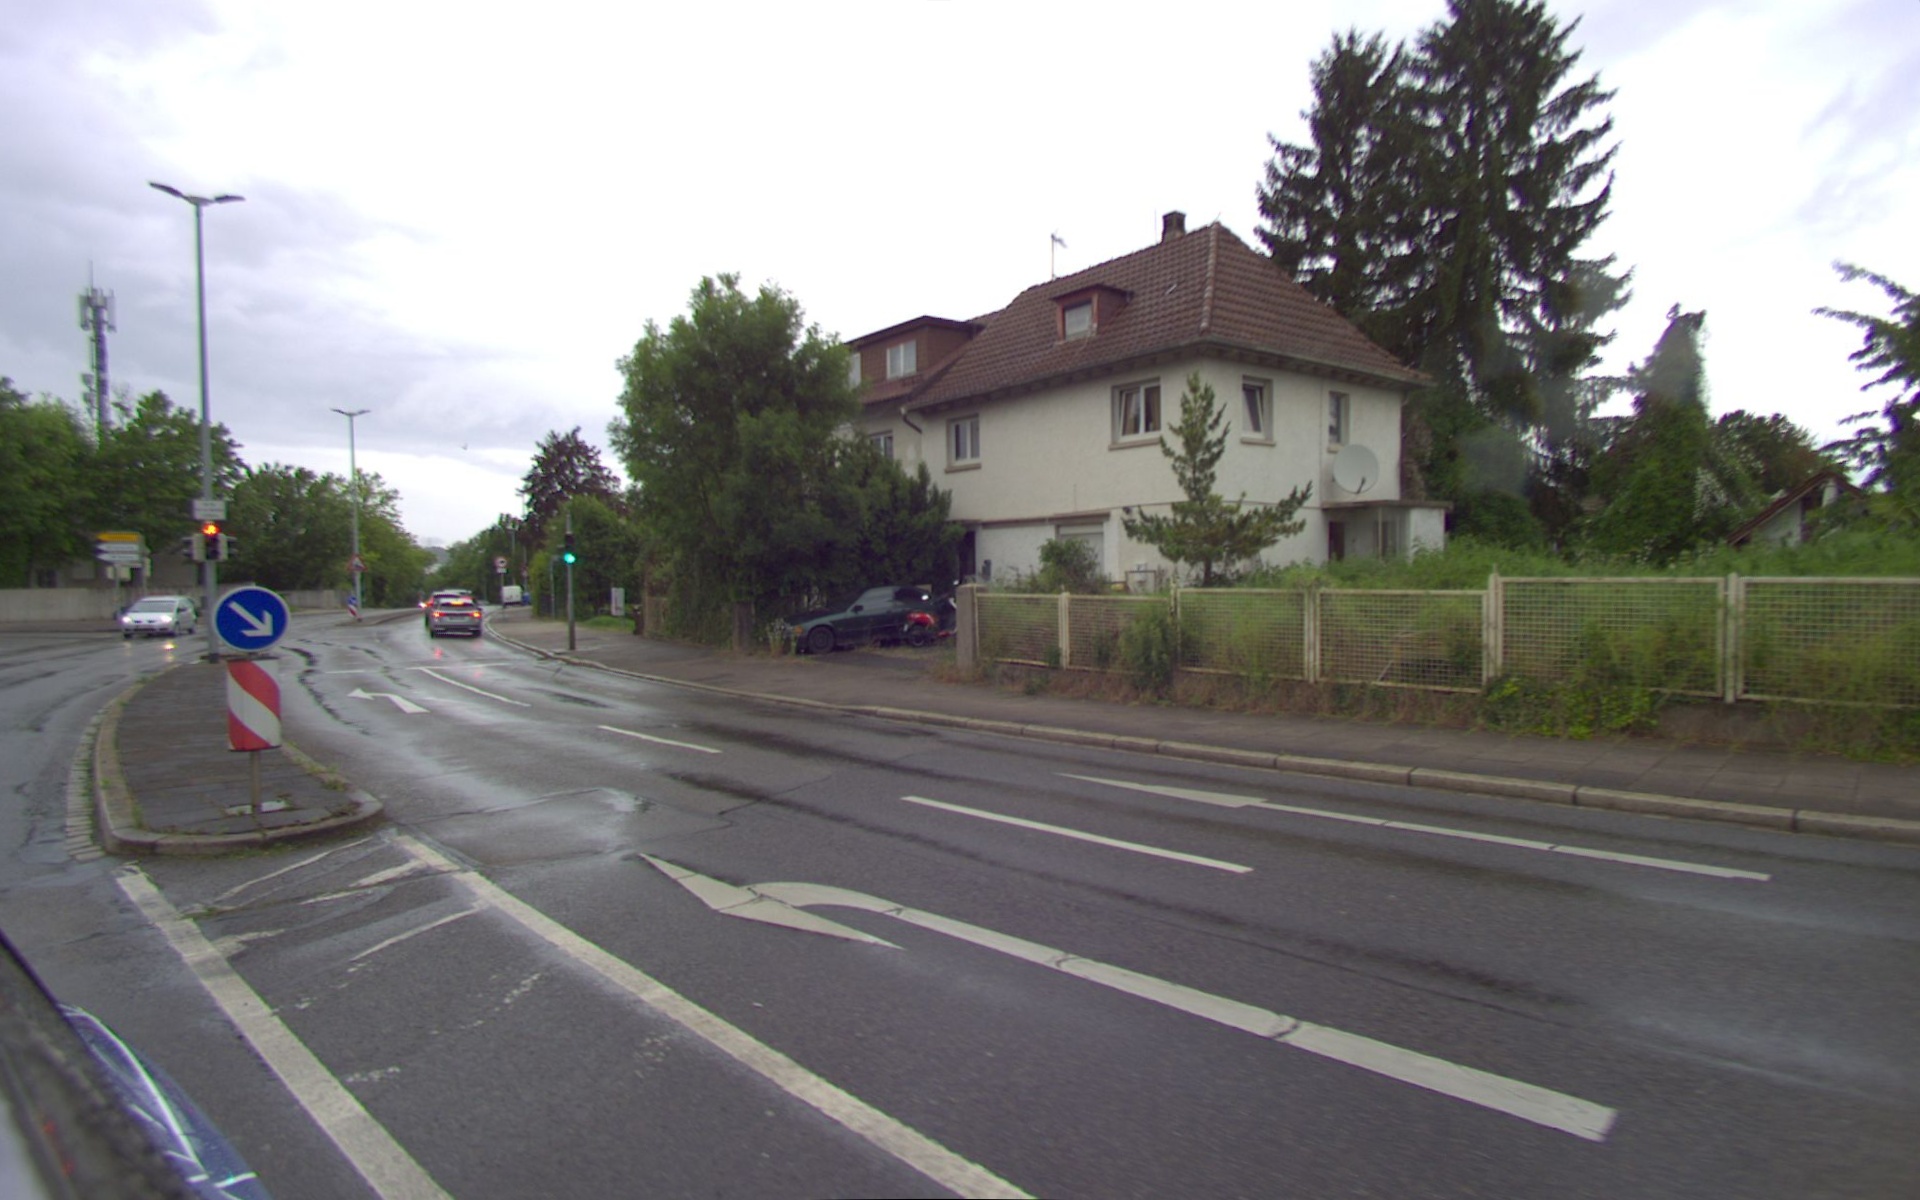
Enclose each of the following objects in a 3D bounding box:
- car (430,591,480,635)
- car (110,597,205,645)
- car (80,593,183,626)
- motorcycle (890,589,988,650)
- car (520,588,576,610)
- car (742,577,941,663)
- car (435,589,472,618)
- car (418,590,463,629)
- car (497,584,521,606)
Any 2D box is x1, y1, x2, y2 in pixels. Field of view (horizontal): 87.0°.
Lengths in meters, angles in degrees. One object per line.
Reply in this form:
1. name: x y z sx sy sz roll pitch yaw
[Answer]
1. car: -20.071 0.458 40.107 1.652 1.460 4.704 -2 3 -28
2. car: -32.056 0.788 40.573 1.965 1.668 4.014 -1 3 -23
3. car: -46.290 0.503 56.662 1.977 1.668 4.217 0 2 8
4. motorcycle: -0.441 0.396 22.435 2.176 1.097 0.728 -8 6 -43
5. car: -30.950 -0.090 76.005 3.824 1.466 1.774 -2 2 -25
6. car: -2.597 0.380 22.621 3.939 1.404 1.936 -8 5 -40
7. car: -30.477 0.192 60.981 1.838 1.565 4.461 0 1 -25
8. car: -25.760 0.421 50.222 1.856 1.690 4.246 -2 3 -27
9. car: -37.780 -0.461 84.848 1.791 1.730 4.014 -1 2 -23
